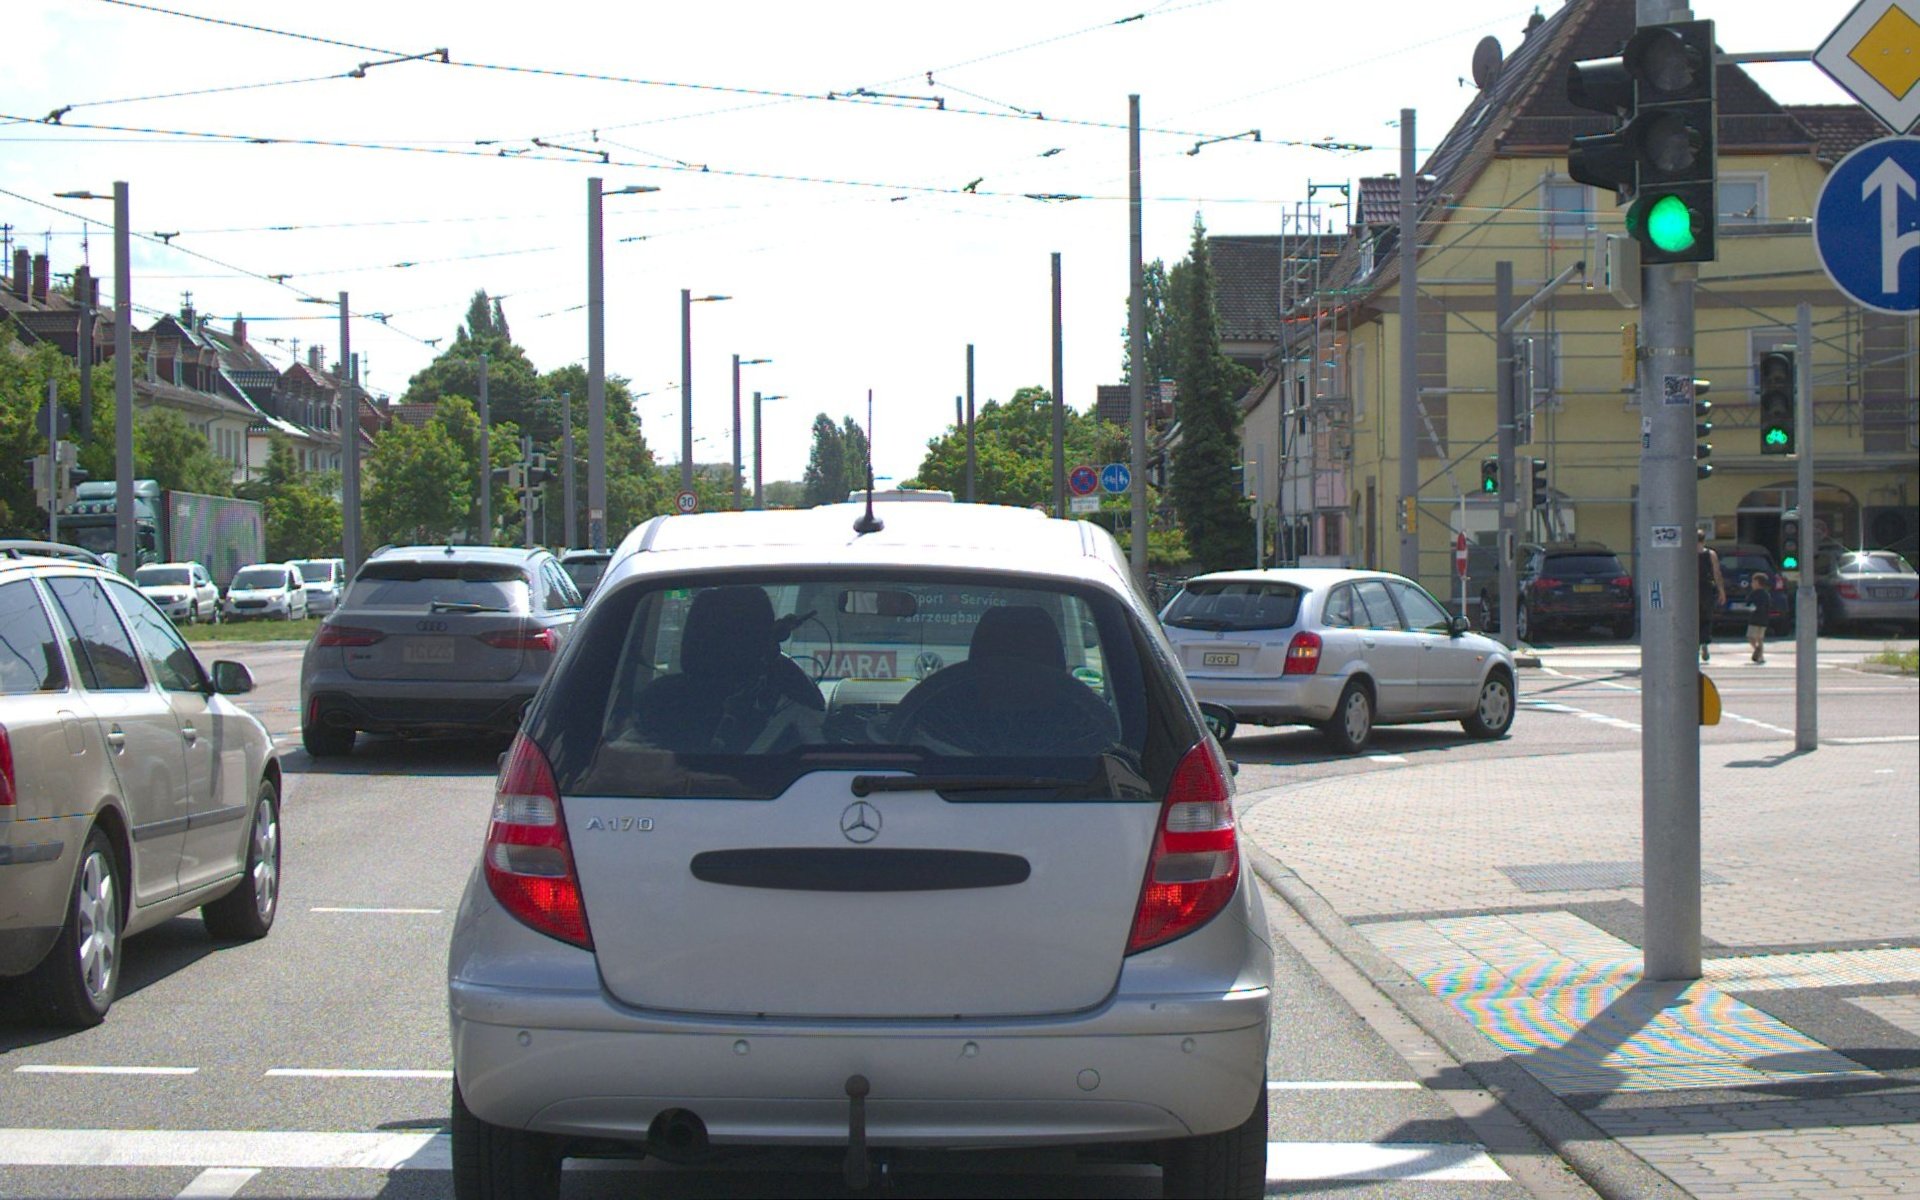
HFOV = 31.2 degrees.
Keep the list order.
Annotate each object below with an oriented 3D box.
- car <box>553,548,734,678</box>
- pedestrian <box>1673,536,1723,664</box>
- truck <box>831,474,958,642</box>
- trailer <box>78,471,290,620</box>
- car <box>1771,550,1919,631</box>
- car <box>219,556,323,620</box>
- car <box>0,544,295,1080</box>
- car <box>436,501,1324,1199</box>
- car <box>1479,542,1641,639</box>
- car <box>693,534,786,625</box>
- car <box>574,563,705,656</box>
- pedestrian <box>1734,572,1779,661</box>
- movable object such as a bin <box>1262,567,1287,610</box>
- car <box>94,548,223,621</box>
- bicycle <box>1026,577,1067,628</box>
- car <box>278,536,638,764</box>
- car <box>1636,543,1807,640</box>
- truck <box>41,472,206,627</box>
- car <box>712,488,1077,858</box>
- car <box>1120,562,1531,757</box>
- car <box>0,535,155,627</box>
[{"bbox_3d":[-3.612,0.132,39.854,1.852,1.384,4.515,1,0,-3],"label":"car"},{"bbox_3d":[9.512,-0.002,44.300,0.547,1.638,0.401,1,0,4],"label":"pedestrian"},{"bbox_3d":[-1.119,-0.650,55.784,1.852,2.543,5.855,1,0,-3],"label":"truck"},{"bbox_3d":[-21.602,-1.584,96.570,2.599,3.808,12.837,-3,1,1],"label":"trailer"},{"bbox_3d":[15.596,-0.162,59.914,1.867,1.347,4.131,1,0,-1],"label":"car"},{"bbox_3d":[-18.509,-0.318,92.526,1.794,1.631,4.471,-1,0,1],"label":"car"},{"bbox_3d":[-3.444,0.537,11.317,1.731,1.444,4.123,1,0,-1],"label":"car"},{"bbox_3d":[-0.262,0.573,8.805,1.730,1.512,4.017,1,0,-3],"label":"car"},{"bbox_3d":[10.326,-0.166,59.434,1.993,1.590,4.131,1,0,-1],"label":"car"},{"bbox_3d":[-4.639,-0.423,72.816,1.852,1.837,3.919,1,0,-3],"label":"car"},{"bbox_3d":[-5.066,0.141,54.737,1.852,1.384,3.919,1,0,-3],"label":"car"},{"bbox_3d":[10.242,0.209,44.230,0.488,1.132,0.389,1,0,5],"label":"pedestrian"},{"bbox_3d":[6.966,-0.262,76.118,0.468,0.943,0.558,-1,0,-1],"label":"movable object such as a bin"},{"bbox_3d":[-18.774,-0.355,80.710,1.993,1.547,4.178,-4,0,0],"label":"car"},{"bbox_3d":[1.930,0.048,77.047,0.650,1.114,1.588,1,0,-8],"label":"bicycle"},{"bbox_3d":[-3.545,0.317,25.087,1.916,1.472,4.562,1,0,0],"label":"car"},{"bbox_3d":[13.186,-0.148,59.787,1.993,1.590,4.131,1,0,-1],"label":"car"},{"bbox_3d":[-21.781,-1.355,89.784,2.599,3.808,5.667,-3,1,2],"label":"truck"},{"bbox_3d":[-0.354,0.349,18.664,1.730,1.756,4.017,1,0,-1],"label":"car"},{"bbox_3d":[3.020,0.417,27.707,1.733,1.399,4.009,2,2,31],"label":"car"},{"bbox_3d":[-18.227,-0.410,70.778,1.993,1.770,4.878,-2,1,2],"label":"car"}]
